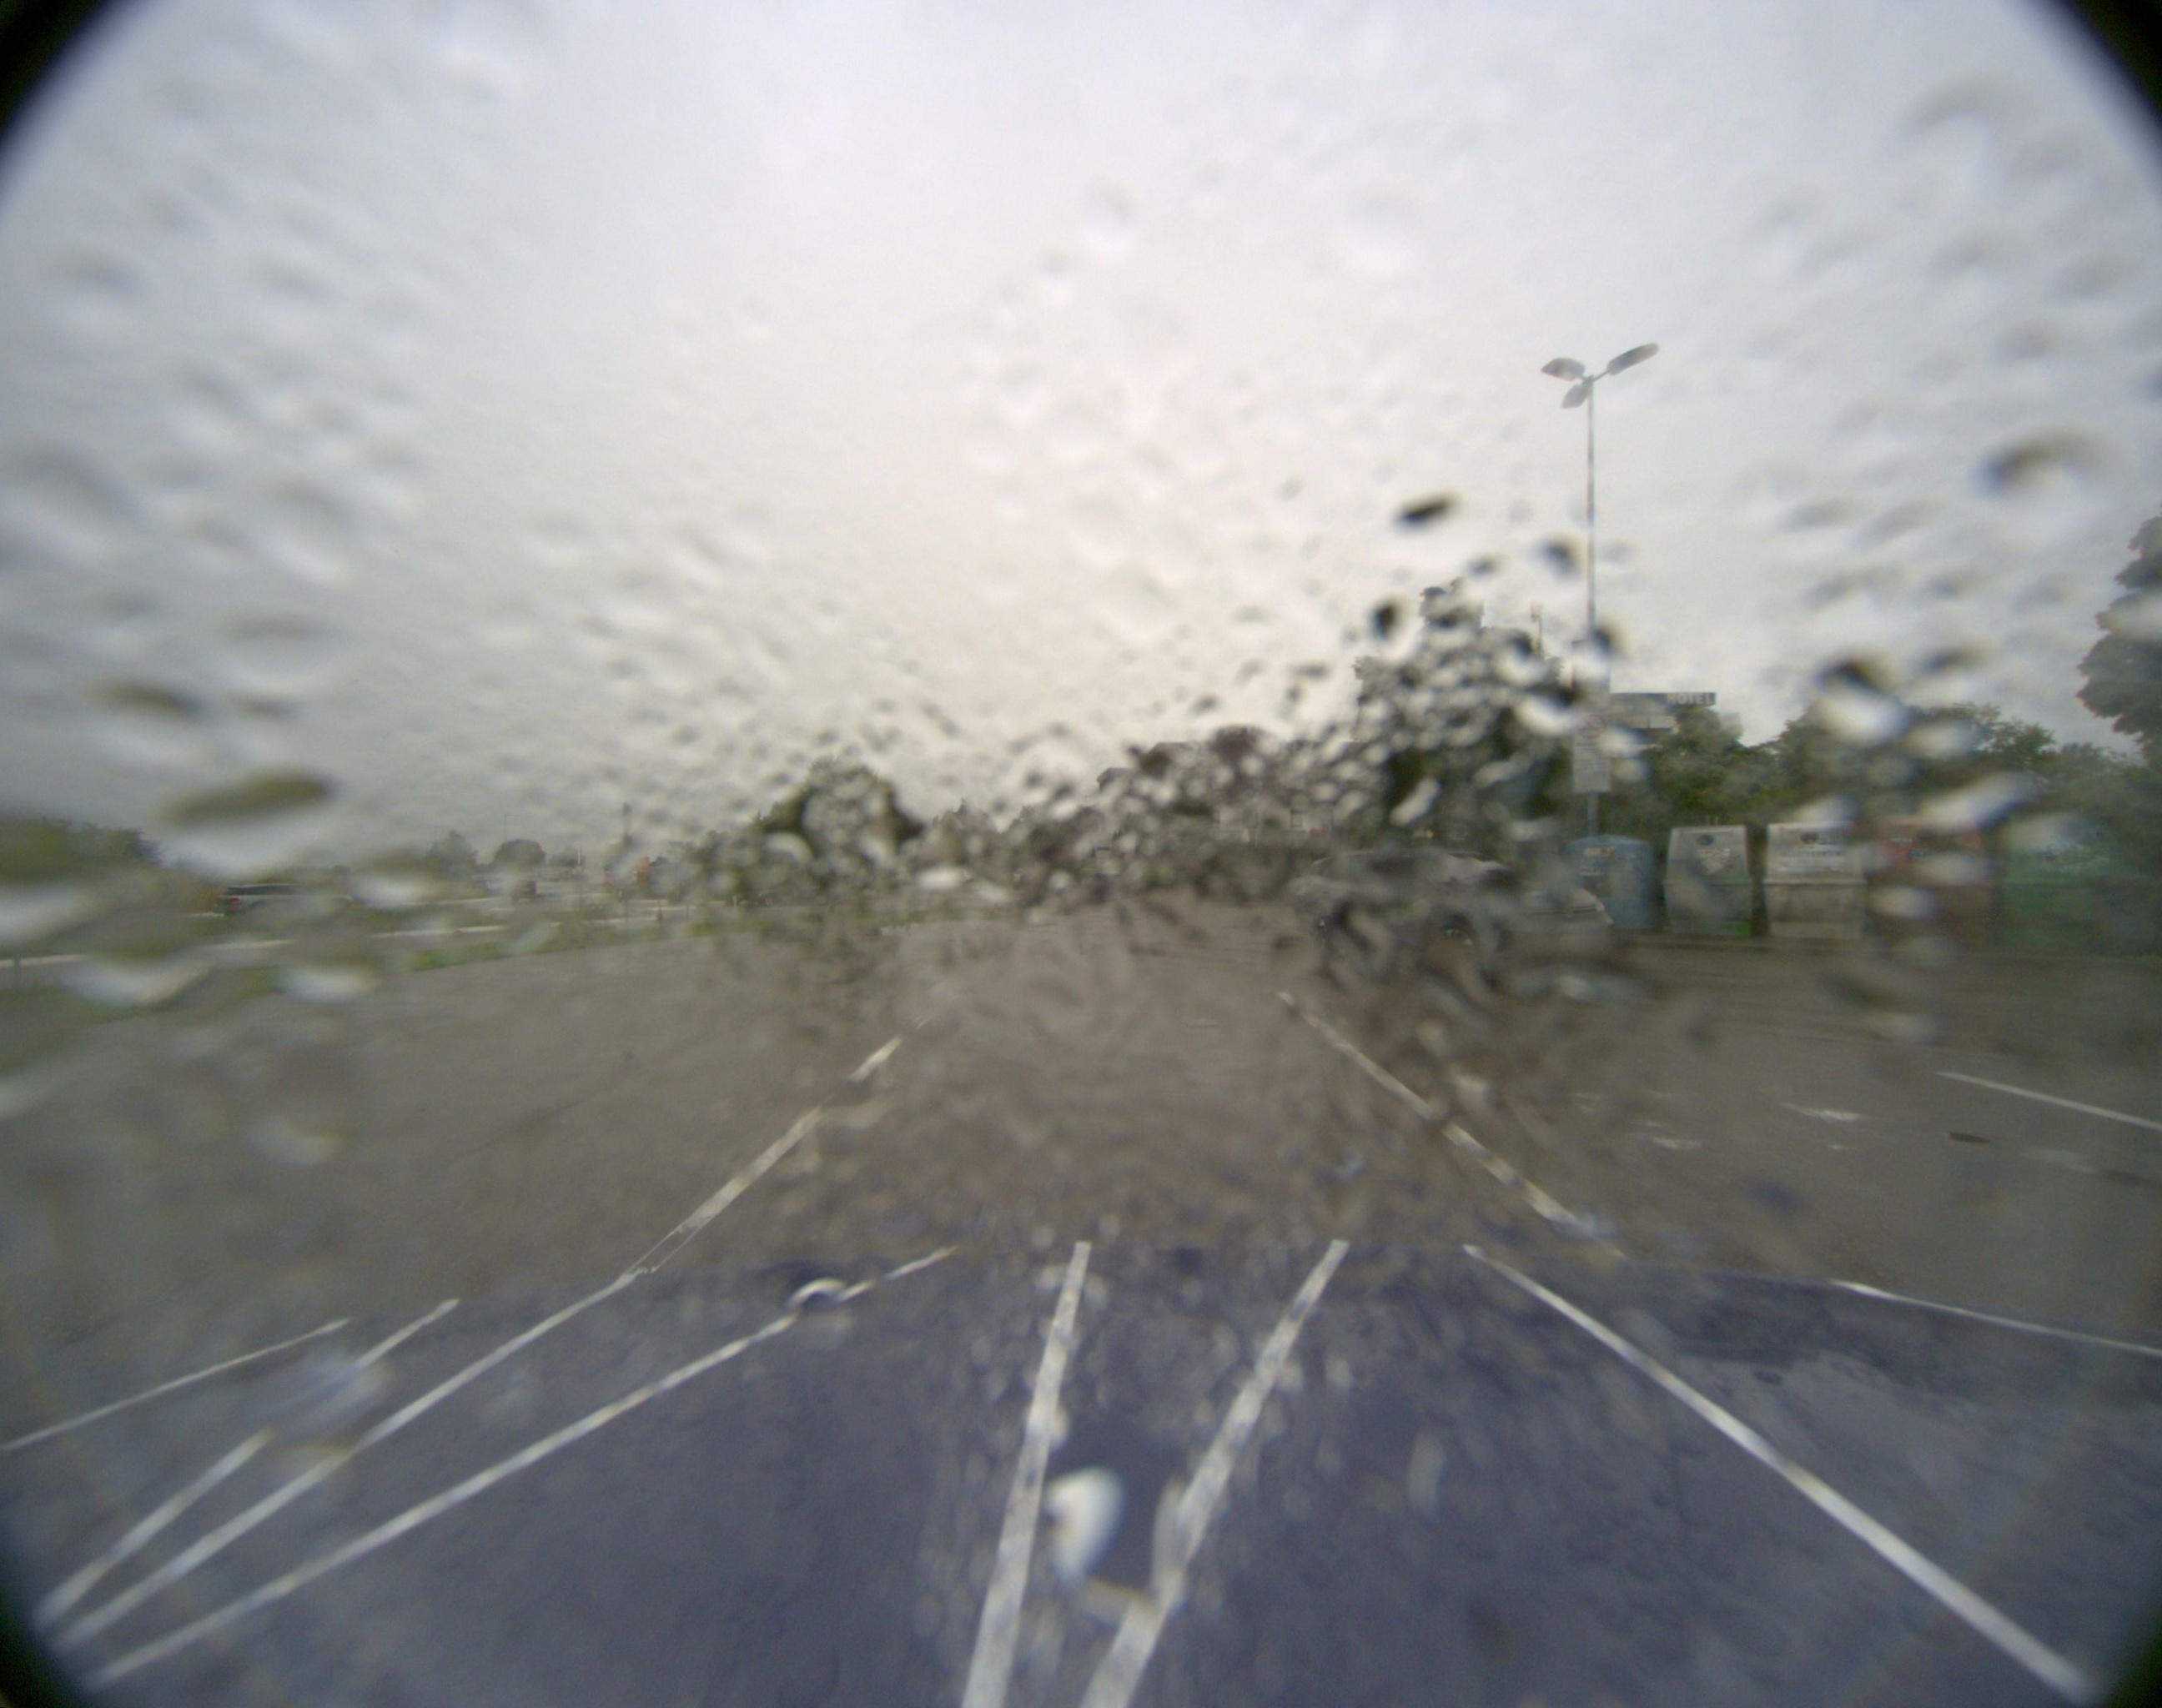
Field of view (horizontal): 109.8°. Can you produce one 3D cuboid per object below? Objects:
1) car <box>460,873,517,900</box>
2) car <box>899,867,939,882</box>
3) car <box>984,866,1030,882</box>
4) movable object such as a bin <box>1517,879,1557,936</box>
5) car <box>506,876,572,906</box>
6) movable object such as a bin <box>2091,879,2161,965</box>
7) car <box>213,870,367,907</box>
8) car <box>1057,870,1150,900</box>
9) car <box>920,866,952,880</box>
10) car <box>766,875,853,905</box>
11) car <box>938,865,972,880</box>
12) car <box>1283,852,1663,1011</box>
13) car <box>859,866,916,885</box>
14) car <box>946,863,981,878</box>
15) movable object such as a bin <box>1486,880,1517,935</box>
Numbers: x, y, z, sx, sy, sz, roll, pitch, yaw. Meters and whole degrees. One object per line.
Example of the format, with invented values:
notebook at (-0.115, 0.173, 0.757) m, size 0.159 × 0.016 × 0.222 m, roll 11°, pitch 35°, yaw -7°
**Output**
car at (-48.490, 2.657, 62.175) m, size 3.991 × 2.001 × 2.003 m, roll -2°, pitch -1°, yaw 23°
car at (-18.334, 2.355, 86.112) m, size 4.636 × 1.541 × 2.004 m, roll -3°, pitch -1°, yaw 41°
car at (-7.214, 1.909, 74.326) m, size 4.358 × 1.416 × 1.850 m, roll -1°, pitch -1°, yaw -3°
movable object such as a bin at (7.929, 0.928, 13.224) m, size 0.405 × 0.943 × 0.450 m, roll -2°, pitch 0°, yaw 1°
car at (-35.517, 2.391, 49.919) m, size 1.893 × 1.674 × 4.663 m, roll 0°, pitch 1°, yaw -14°
movable object such as a bin at (11.709, 0.749, 8.511) m, size 0.510 × 0.917 × 0.437 m, roll 0°, pitch -1°, yaw -39°
car at (-34.397, 1.449, 33.204) m, size 1.753 × 1.317 × 4.315 m, roll 1°, pitch 1°, yaw 18°
car at (1.156, 1.551, 38.597) m, size 4.319 × 1.440 × 1.873 m, roll -1°, pitch -1°, yaw 25°
car at (-16.862, 2.247, 88.218) m, size 3.716 × 1.540 × 1.670 m, roll -3°, pitch -1°, yaw 43°
car at (-15.126, 1.979, 42.537) m, size 4.362 × 1.416 × 1.704 m, roll -2°, pitch 0°, yaw -14°
car at (-14.992, 2.202, 90.074) m, size 3.878 × 1.560 × 1.753 m, roll -3°, pitch -1°, yaw 38°
car at (4.789, 0.824, 10.201) m, size 2.001 × 1.565 × 4.495 m, roll -2°, pitch 0°, yaw -15°
car at (-19.941, 2.182, 78.468) m, size 5.374 × 1.711 × 2.000 m, roll -2°, pitch -1°, yaw -2°
car at (-14.286, 2.021, 92.197) m, size 3.989 × 1.717 × 1.994 m, roll -3°, pitch -1°, yaw 37°
movable object such as a bin at (7.559, 0.952, 13.665) m, size 0.434 × 0.943 × 0.474 m, roll -2°, pitch 0°, yaw 25°
